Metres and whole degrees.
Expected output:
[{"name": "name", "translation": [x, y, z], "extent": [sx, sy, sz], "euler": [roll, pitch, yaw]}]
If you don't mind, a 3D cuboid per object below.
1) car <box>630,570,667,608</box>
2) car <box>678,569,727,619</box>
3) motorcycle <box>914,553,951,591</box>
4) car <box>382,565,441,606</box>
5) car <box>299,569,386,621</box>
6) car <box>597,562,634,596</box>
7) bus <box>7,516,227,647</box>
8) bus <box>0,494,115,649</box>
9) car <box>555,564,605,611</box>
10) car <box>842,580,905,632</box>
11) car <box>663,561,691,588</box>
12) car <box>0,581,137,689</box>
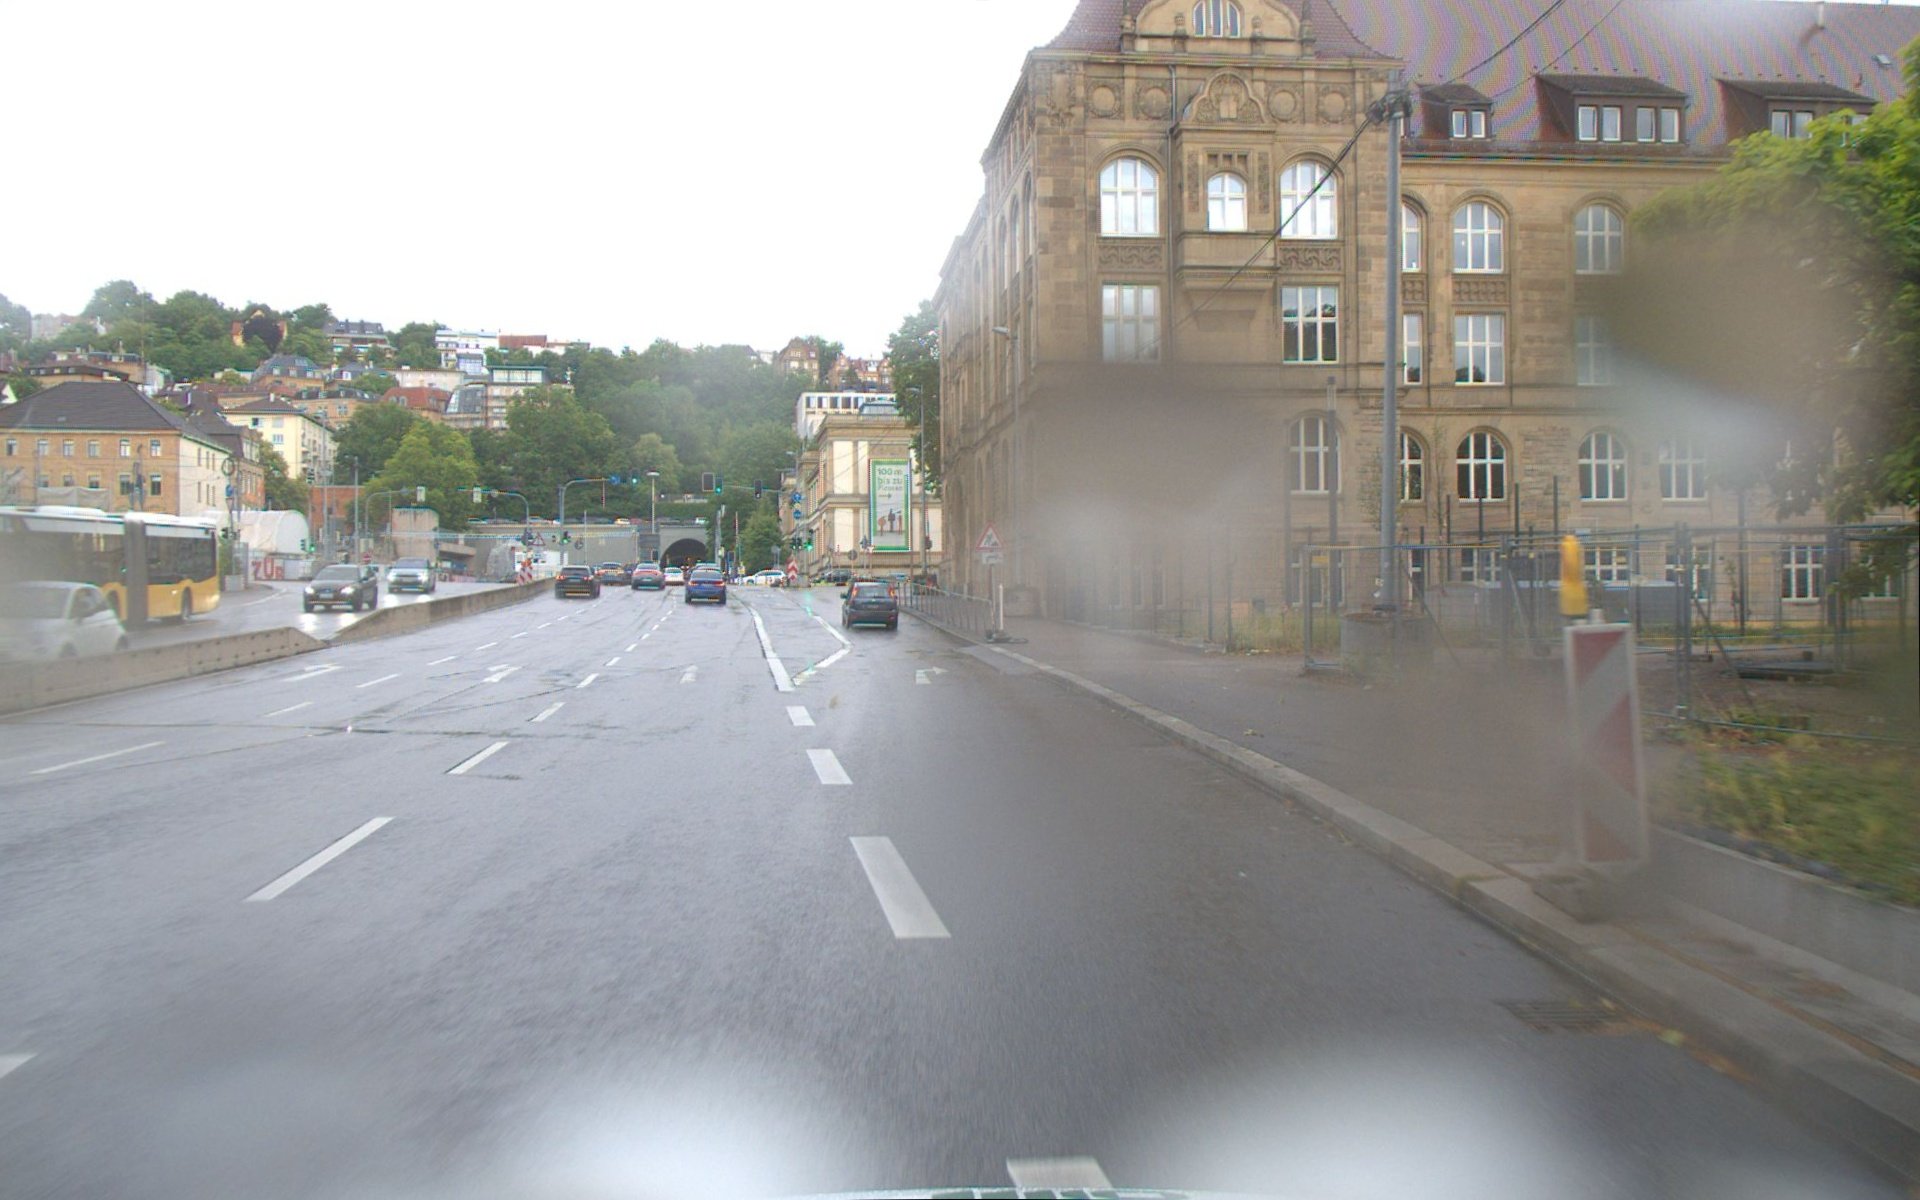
[{"name": "car", "translation": [-18.122, -0.611, 96.430], "extent": [2.014, 2.049, 3.990], "euler": [-1, -1, -10]}, {"name": "car", "translation": [-11.569, -0.251, 74.284], "extent": [2.066, 2.086, 3.991], "euler": [-1, -1, -9]}, {"name": "motorcycle", "translation": [-1.548, -1.569, 90.865], "extent": [1.760, 2.048, 3.809], "euler": [-1, 1, -5]}, {"name": "car", "translation": [-26.493, -0.693, 80.027], "extent": [1.957, 1.786, 5.285], "euler": [-1, -1, -10]}, {"name": "car", "translation": [-21.651, -0.145, 58.158], "extent": [2.002, 1.691, 4.919], "euler": [-1, -1, -11]}, {"name": "car", "translation": [-22.184, -1.329, 106.605], "extent": [1.955, 2.049, 3.994], "euler": [-1, -1, -6]}, {"name": "bus", "translation": [-22.947, -0.456, 45.636], "extent": [2.653, 3.206, 9.130], "euler": [-1, 0, -9]}, {"name": "bus", "translation": [-21.785, -0.564, 36.704], "extent": [2.754, 3.240, 8.788], "euler": [-1, 0, -9]}, {"name": "car", "translation": [-17.759, -0.576, 77.416], "extent": [1.979, 2.049, 3.991], "euler": [-1, -1, -9]}, {"name": "car", "translation": [-2.809, 0.218, 53.022], "extent": [1.777, 1.553, 3.995], "euler": [-2, -1, -6]}, {"name": "car", "translation": [-22.574, -2.028, 131.739], "extent": [1.959, 2.049, 3.987], "euler": [-1, 0, -12]}, {"name": "car", "translation": [-13.985, 0.542, 25.049], "extent": [1.677, 1.515, 3.444], "euler": [-1, -1, -8]}]
